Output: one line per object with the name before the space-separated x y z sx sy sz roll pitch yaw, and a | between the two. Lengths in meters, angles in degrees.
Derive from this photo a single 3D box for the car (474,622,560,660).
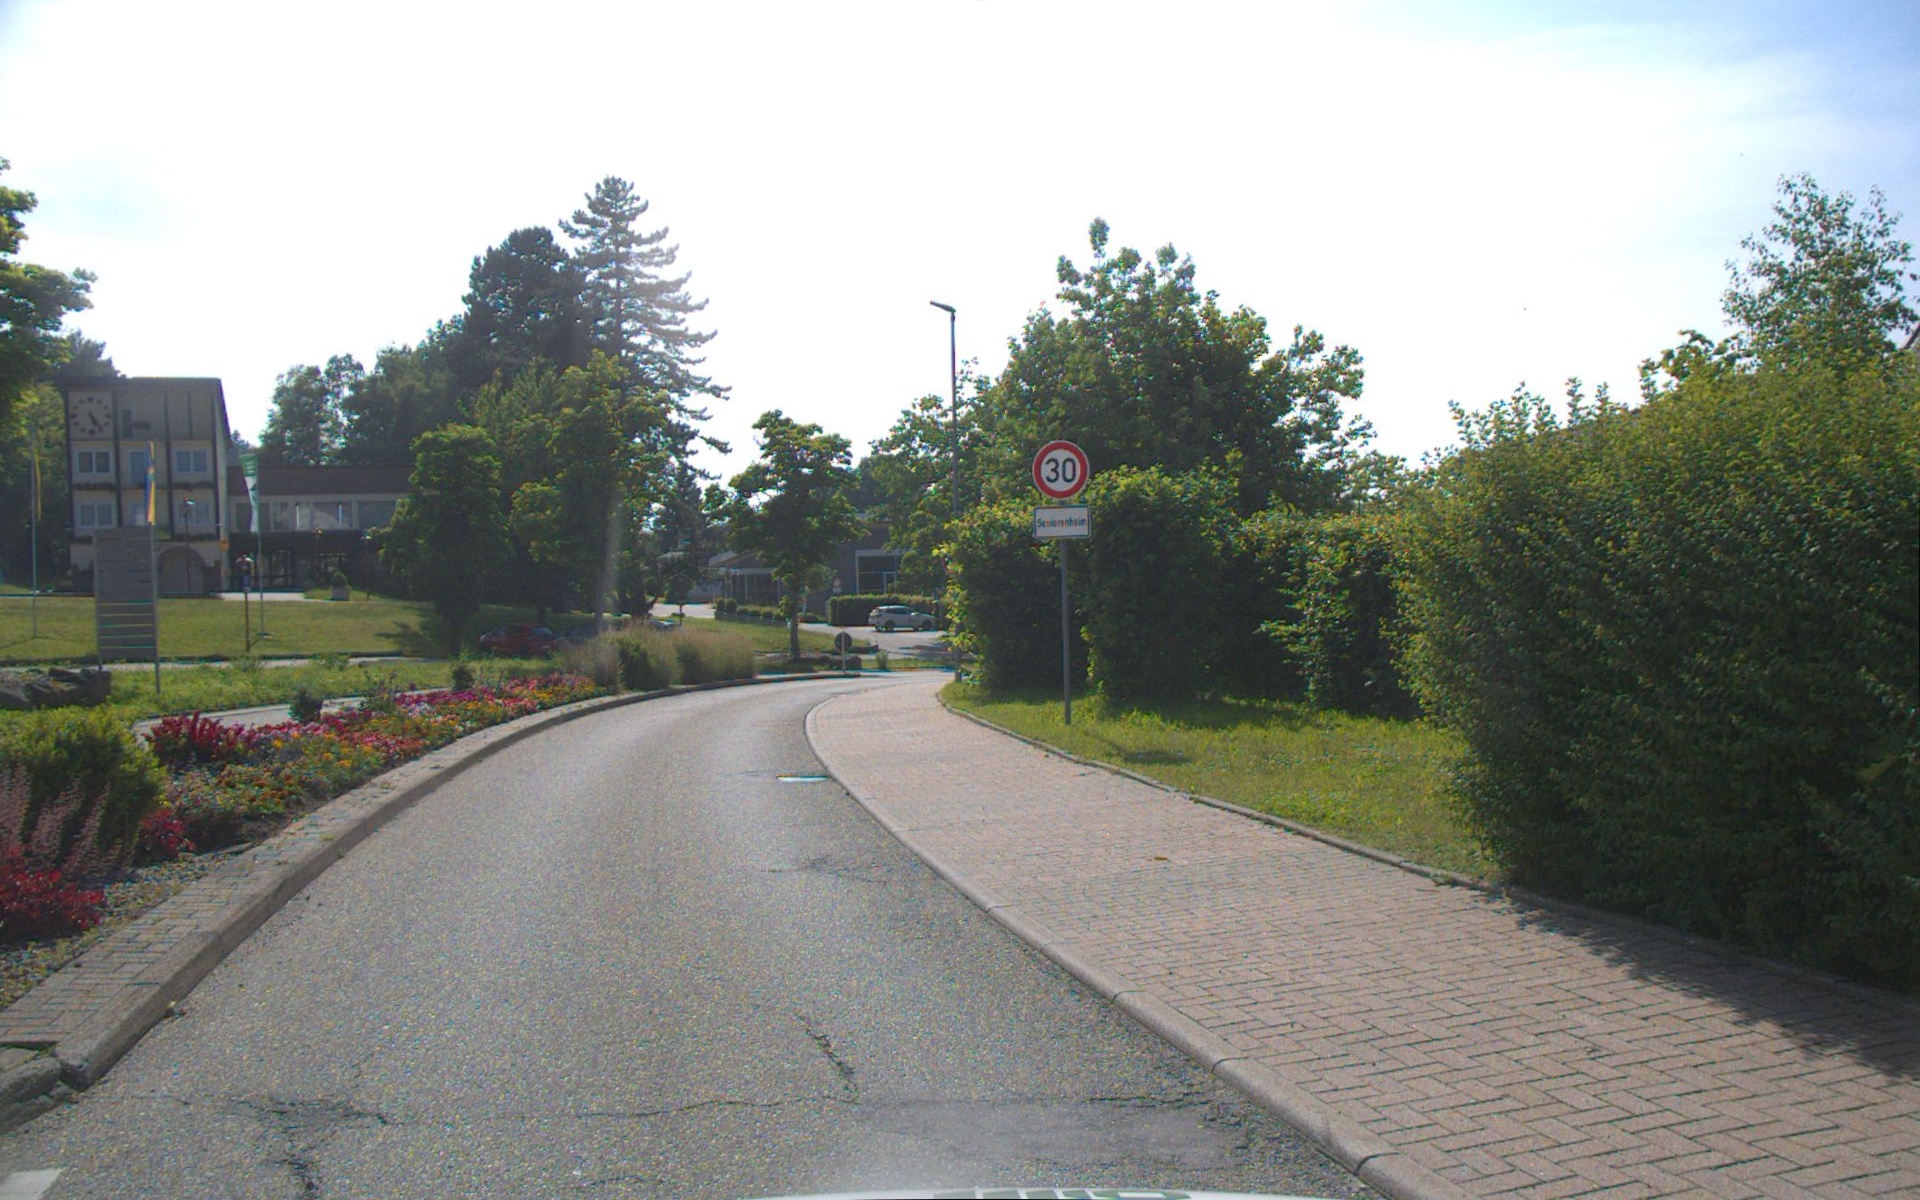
car | -18.621 1.712 69.572 3.138 1.496 1.773 1 -1 30

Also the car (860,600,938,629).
car | -3.932 0.938 107.057 4.658 1.560 1.984 -2 5 -26

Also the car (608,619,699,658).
car | -14.059 1.761 75.822 3.856 1.637 1.772 1 -1 31
